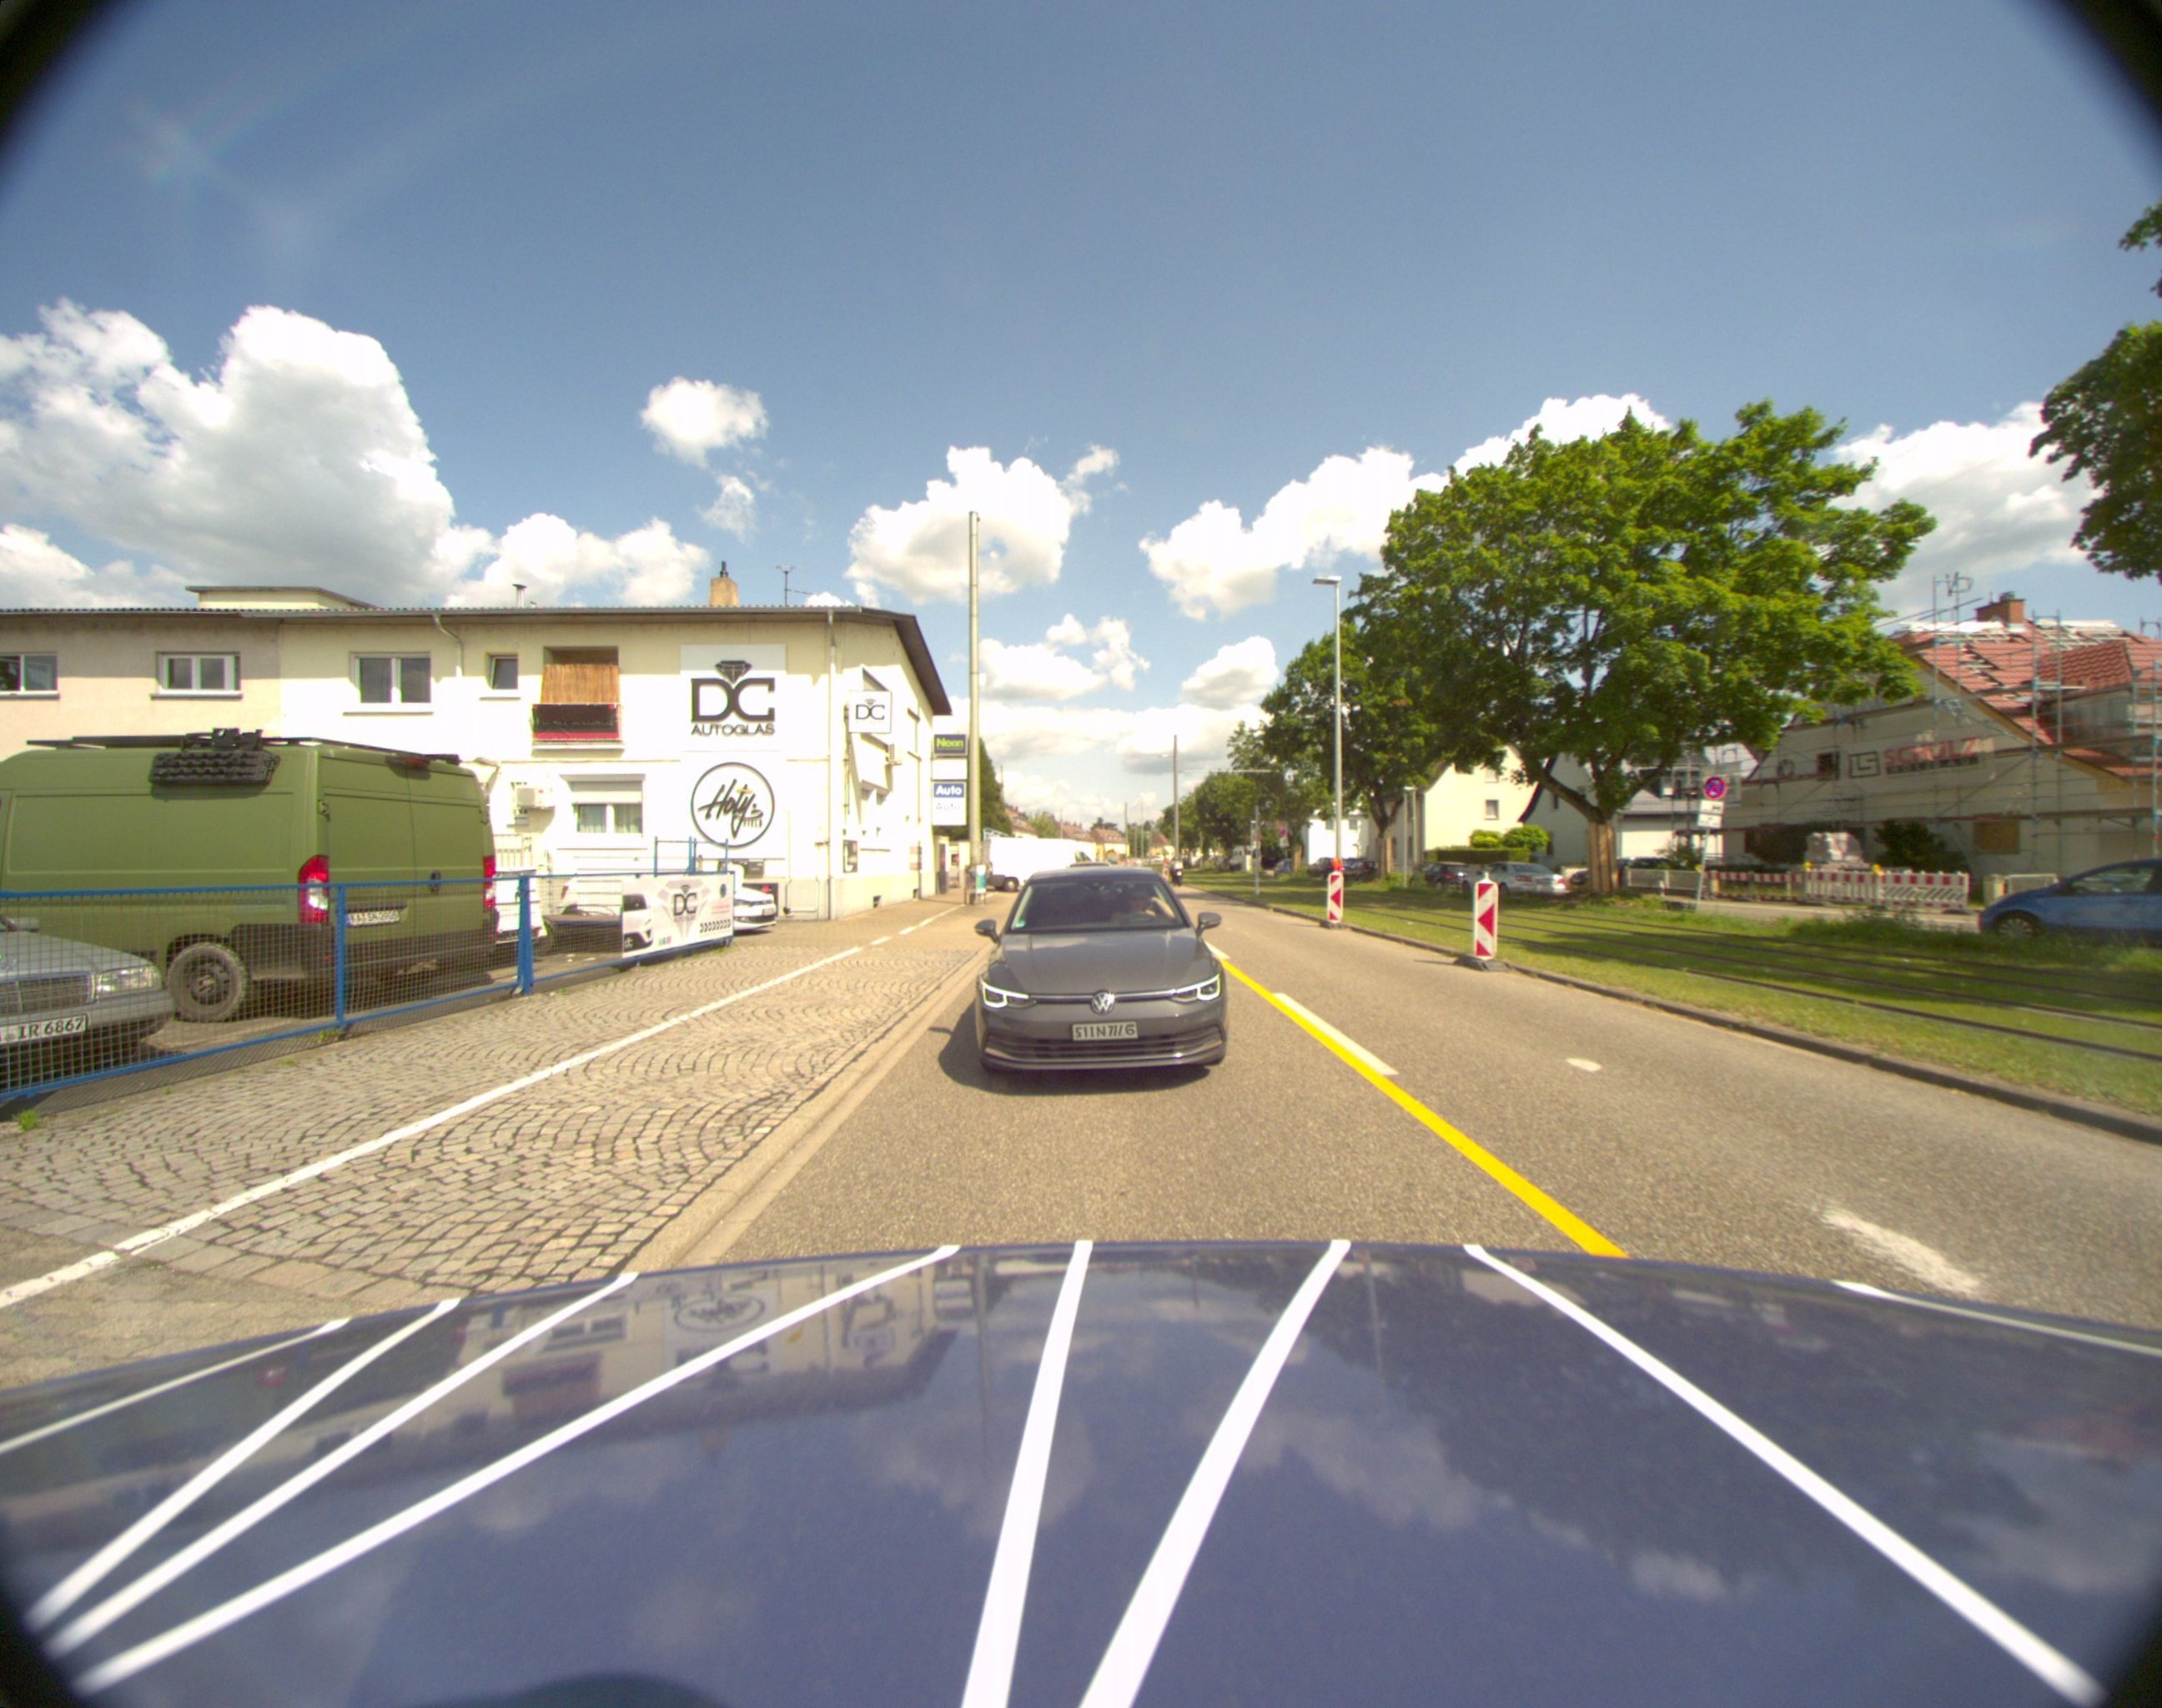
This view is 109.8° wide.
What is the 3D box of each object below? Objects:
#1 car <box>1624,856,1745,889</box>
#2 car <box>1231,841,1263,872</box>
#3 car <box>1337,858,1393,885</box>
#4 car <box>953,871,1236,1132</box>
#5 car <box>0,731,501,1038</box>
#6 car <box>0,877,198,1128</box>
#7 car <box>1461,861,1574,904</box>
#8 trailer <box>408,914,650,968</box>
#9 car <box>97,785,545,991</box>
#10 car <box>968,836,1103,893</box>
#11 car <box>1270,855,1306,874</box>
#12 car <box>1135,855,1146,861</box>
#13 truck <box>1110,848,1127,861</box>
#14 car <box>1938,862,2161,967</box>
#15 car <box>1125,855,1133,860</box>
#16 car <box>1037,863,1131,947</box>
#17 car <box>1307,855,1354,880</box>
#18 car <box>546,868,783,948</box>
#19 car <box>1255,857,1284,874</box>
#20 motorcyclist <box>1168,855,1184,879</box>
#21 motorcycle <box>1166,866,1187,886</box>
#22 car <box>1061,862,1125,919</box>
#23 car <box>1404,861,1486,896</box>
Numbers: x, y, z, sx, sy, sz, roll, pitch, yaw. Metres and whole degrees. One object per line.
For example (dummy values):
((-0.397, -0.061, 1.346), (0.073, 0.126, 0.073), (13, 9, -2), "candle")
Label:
((28.912, 0.887, 36.514), (4.402, 1.477, 1.704), (-1, -1, 1), "car")
((16.825, 0.270, 77.275), (2.136, 3.019, 5.084), (-1, -1, 1), "car")
((16.777, 1.033, 45.159), (1.702, 1.477, 4.407), (-1, -1, 1), "car")
((0.109, 0.935, 6.567), (1.702, 1.477, 4.000), (0, 0, 1), "car")
((-8.720, 0.271, 7.614), (4.207, 2.627, 2.113), (0, 0, 2), "car")
((-8.453, 0.888, 4.778), (4.282, 1.444, 1.713), (0, 0, 8), "car")
((16.450, 1.064, 28.949), (1.788, 1.477, 4.523), (-1, -1, 2), "car")
((-8.362, 1.307, 11.664), (2.733, 0.662, 1.329), (0, 0, -1), "trailer")
((-9.496, 0.402, 9.709), (4.207, 2.392, 1.586), (0, 0, 2), "car")
((-2.128, 0.490, 35.352), (5.847, 2.449, 2.088), (1, 0, -19), "car")
((16.651, 0.872, 61.258), (1.702, 1.477, 4.407), (-1, -1, 1), "car")
((15.443, 0.950, 197.345), (2.116, 1.477, 4.410), (0, 0, 13), "car")
((9.925, 0.137, 201.055), (2.710, 3.119, 8.124), (0, 0, 15), "truck")
((16.198, 0.865, 11.403), (1.702, 1.477, 4.407), (-1, -1, 1), "car")
((13.836, 0.938, 218.686), (1.700, 1.574, 4.005), (0, 0, 16), "car")
((0.083, 0.940, 15.699), (1.702, 1.477, 4.000), (0, 0, 1), "car")
((16.561, 0.896, 50.665), (1.702, 1.562, 4.407), (-1, -1, 1), "car")
((-8.013, 1.022, 14.834), (3.775, 1.454, 1.555), (0, 0, 2), "car")
((17.654, 1.074, 71.330), (1.702, 1.477, 4.407), (-1, -1, 1), "car")
((5.154, 0.724, 41.158), (0.659, 1.284, 0.779), (0, 0, -7), "motorcyclist")
((5.160, 1.187, 41.152), (0.659, 1.040, 2.110), (0, 0, -7), "motorcycle")
((0.351, 1.008, 22.292), (1.702, 1.477, 4.000), (0, 0, 1), "car")
((16.632, 1.118, 34.941), (1.702, 1.477, 4.407), (-1, -1, 1), "car")
